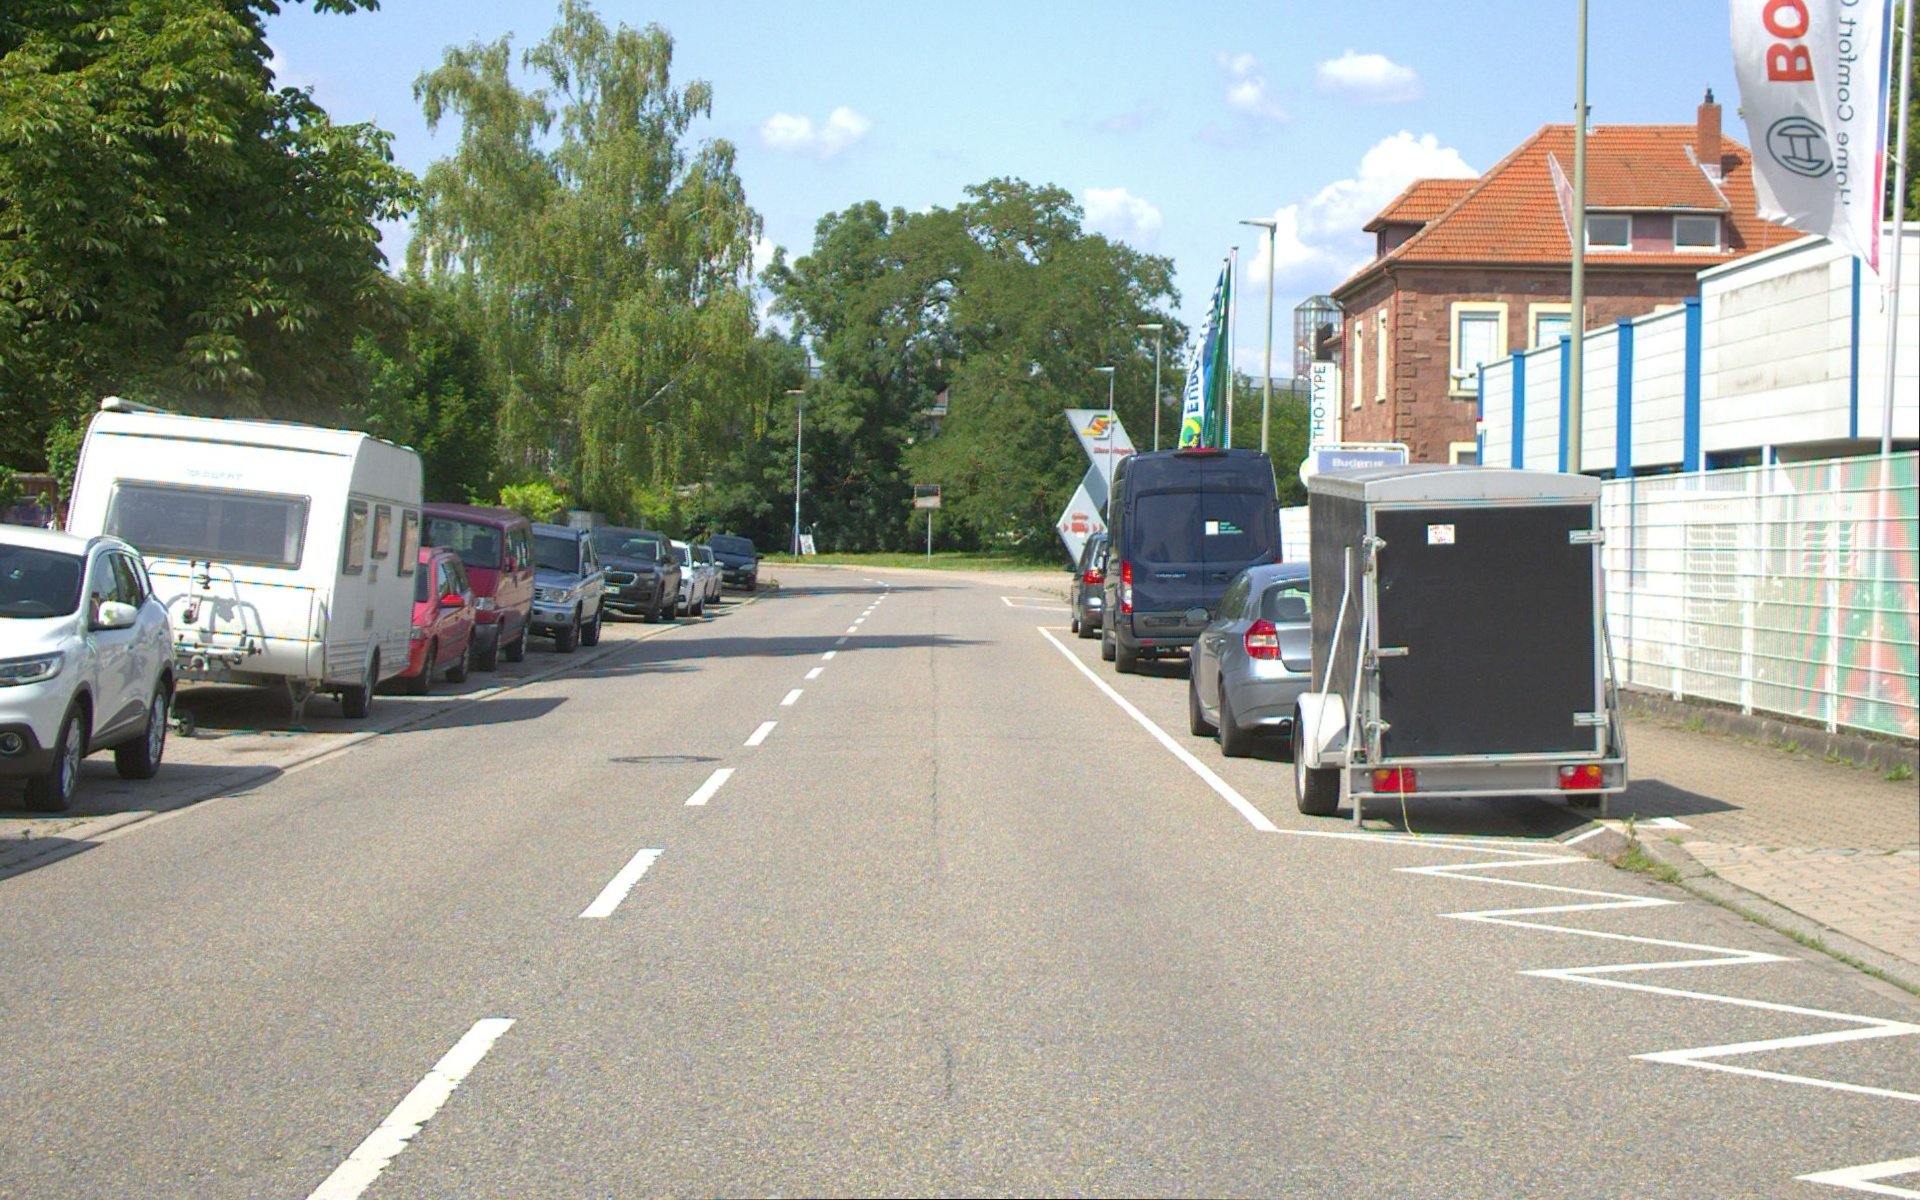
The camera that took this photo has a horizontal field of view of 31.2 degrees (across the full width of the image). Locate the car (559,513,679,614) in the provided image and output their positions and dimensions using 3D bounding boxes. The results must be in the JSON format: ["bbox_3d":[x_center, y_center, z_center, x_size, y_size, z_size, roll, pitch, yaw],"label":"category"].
[{"bbox_3d":[-6.295,-0.707,63.924,1.610,1.739,4.636,3,1,1],"label":"car"}]

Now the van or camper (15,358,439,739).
[{"bbox_3d":[-6.209,-0.457,30.116,2.262,2.794,6.834,4,1,-2],"label":"van or camper"}]

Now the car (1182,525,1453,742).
[{"bbox_3d":[2.648,0.199,26.275,1.572,1.502,4.133,1,1,-1],"label":"car"}]

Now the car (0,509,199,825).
[{"bbox_3d":[-6.025,0.304,21.457,1.683,1.686,4.446,5,1,-4],"label":"car"}]

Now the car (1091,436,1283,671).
[{"bbox_3d":[2.786,-0.605,43.520,1.937,2.739,6.155,1,1,-1],"label":"car"}]

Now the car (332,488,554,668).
[{"bbox_3d":[-6.453,-0.295,43.445,1.898,1.948,4.958,6,1,-1],"label":"car"}]

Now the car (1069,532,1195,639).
[{"bbox_3d":[2.760,-0.266,55.893,1.825,1.659,4.556,0,1,0],"label":"car"}]

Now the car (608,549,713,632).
[{"bbox_3d":[-6.121,-0.216,70.693,1.700,1.589,4.787,1,1,0],"label":"car"}]

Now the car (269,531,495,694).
[{"bbox_3d":[-6.193,0.092,37.249,1.625,1.527,4.269,5,1,0],"label":"car"}]

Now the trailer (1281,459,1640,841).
[{"bbox_3d":[2.844,0.248,20.038,1.601,2.030,2.741,2,1,-1],"label":"trailer"}]
